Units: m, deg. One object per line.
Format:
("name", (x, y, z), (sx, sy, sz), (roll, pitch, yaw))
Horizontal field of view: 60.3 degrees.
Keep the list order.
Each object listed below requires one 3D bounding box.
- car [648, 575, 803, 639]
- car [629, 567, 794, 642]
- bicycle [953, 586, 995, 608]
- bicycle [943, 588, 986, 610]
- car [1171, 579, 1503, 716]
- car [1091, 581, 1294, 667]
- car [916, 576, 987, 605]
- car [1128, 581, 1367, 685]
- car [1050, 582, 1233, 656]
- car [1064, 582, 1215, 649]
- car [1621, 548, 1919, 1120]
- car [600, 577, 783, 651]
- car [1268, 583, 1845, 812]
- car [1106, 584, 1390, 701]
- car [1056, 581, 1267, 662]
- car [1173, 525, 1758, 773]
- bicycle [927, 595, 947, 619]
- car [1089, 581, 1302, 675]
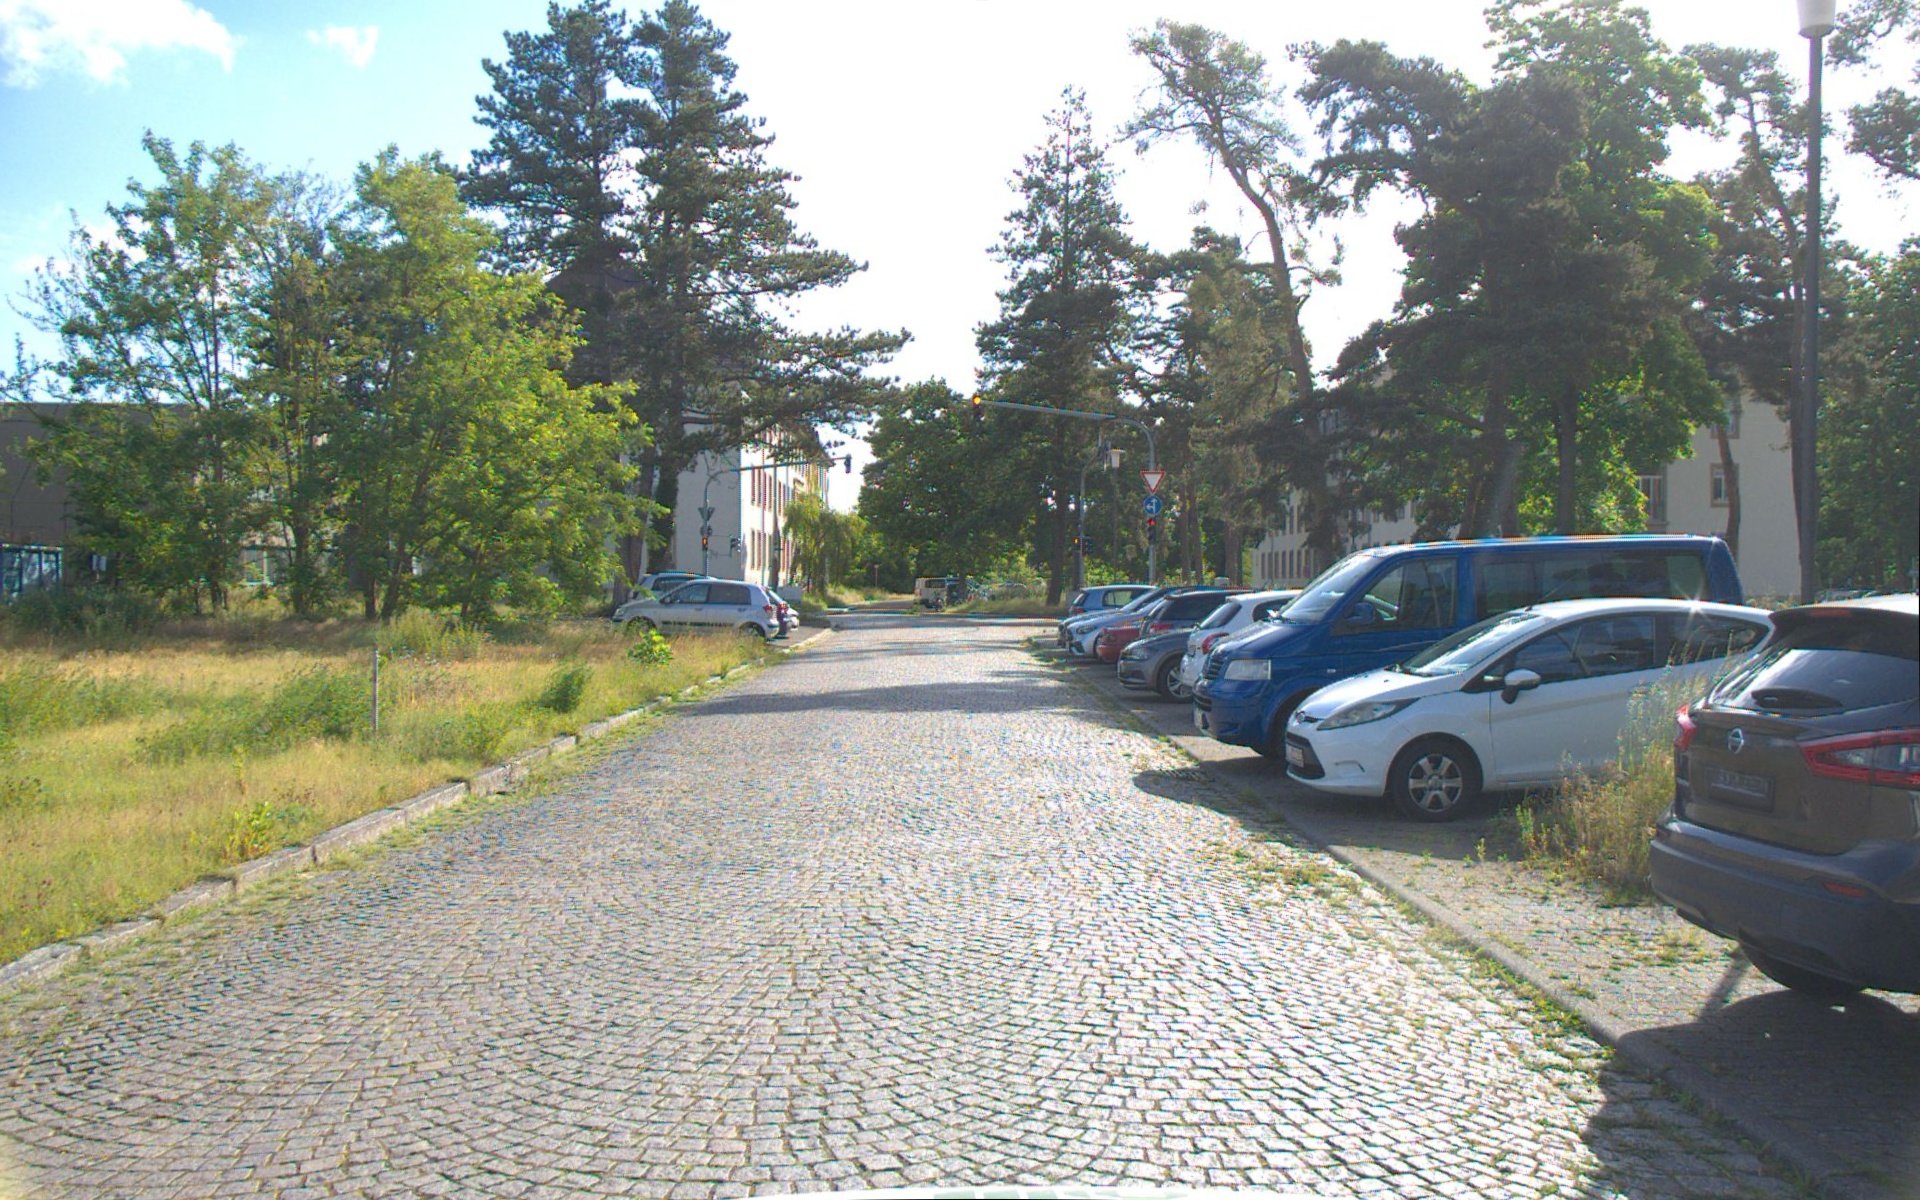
("car", (-6.367, 0.179, 45.261), (3.907, 1.478, 2.000), (3, 1, -2))
("car", (-6.394, 0.102, 42.859), (3.907, 1.629, 2.000), (4, 0, -2))
("bicycle", (0.750, -0.165, 88.748), (2.134, 1.119, 0.805), (1, 0, -11))
("bicycle", (0.242, -0.046, 87.373), (2.134, 1.119, 0.805), (1, 0, -11))
("car", (4.482, 0.541, 20.011), (3.619, 1.491, 1.645), (-2, 0, 0))
("car", (4.304, 0.436, 30.967), (3.530, 1.556, 1.645), (0, 1, -2))
("car", (-0.547, -0.629, 104.827), (4.390, 1.758, 1.999), (1, 0, -2))
("car", (4.431, 0.495, 25.817), (3.408, 1.556, 1.645), (0, 1, -2))
("car", (3.890, 0.405, 35.809), (3.758, 1.556, 1.645), (0, 1, -2))
("car", (4.141, 0.353, 38.455), (3.276, 1.508, 1.645), (0, 1, -2))
("car", (4.572, 0.667, 5.738), (3.857, 1.650, 1.771), (0, 1, -2))
("car", (-6.026, 0.308, 37.478), (3.908, 1.628, 1.999), (0, 1, -4))
("car", (4.259, 0.651, 12.150), (3.645, 1.514, 1.644), (-1, 1, -4))
("car", (3.925, 0.556, 22.888), (3.601, 1.492, 1.645), (-1, 1, -2))
("car", (3.988, 0.412, 33.040), (3.955, 1.556, 1.644), (0, 1, -5))
("car", (4.378, 0.394, 14.830), (4.584, 2.049, 2.082), (0, 1, -4))
("bicycle", (-1.173, 0.356, 83.886), (0.789, 1.190, 2.177), (-1, 1, -7))
("car", (4.011, 0.462, 28.500), (3.408, 1.556, 1.645), (0, 1, -2))
